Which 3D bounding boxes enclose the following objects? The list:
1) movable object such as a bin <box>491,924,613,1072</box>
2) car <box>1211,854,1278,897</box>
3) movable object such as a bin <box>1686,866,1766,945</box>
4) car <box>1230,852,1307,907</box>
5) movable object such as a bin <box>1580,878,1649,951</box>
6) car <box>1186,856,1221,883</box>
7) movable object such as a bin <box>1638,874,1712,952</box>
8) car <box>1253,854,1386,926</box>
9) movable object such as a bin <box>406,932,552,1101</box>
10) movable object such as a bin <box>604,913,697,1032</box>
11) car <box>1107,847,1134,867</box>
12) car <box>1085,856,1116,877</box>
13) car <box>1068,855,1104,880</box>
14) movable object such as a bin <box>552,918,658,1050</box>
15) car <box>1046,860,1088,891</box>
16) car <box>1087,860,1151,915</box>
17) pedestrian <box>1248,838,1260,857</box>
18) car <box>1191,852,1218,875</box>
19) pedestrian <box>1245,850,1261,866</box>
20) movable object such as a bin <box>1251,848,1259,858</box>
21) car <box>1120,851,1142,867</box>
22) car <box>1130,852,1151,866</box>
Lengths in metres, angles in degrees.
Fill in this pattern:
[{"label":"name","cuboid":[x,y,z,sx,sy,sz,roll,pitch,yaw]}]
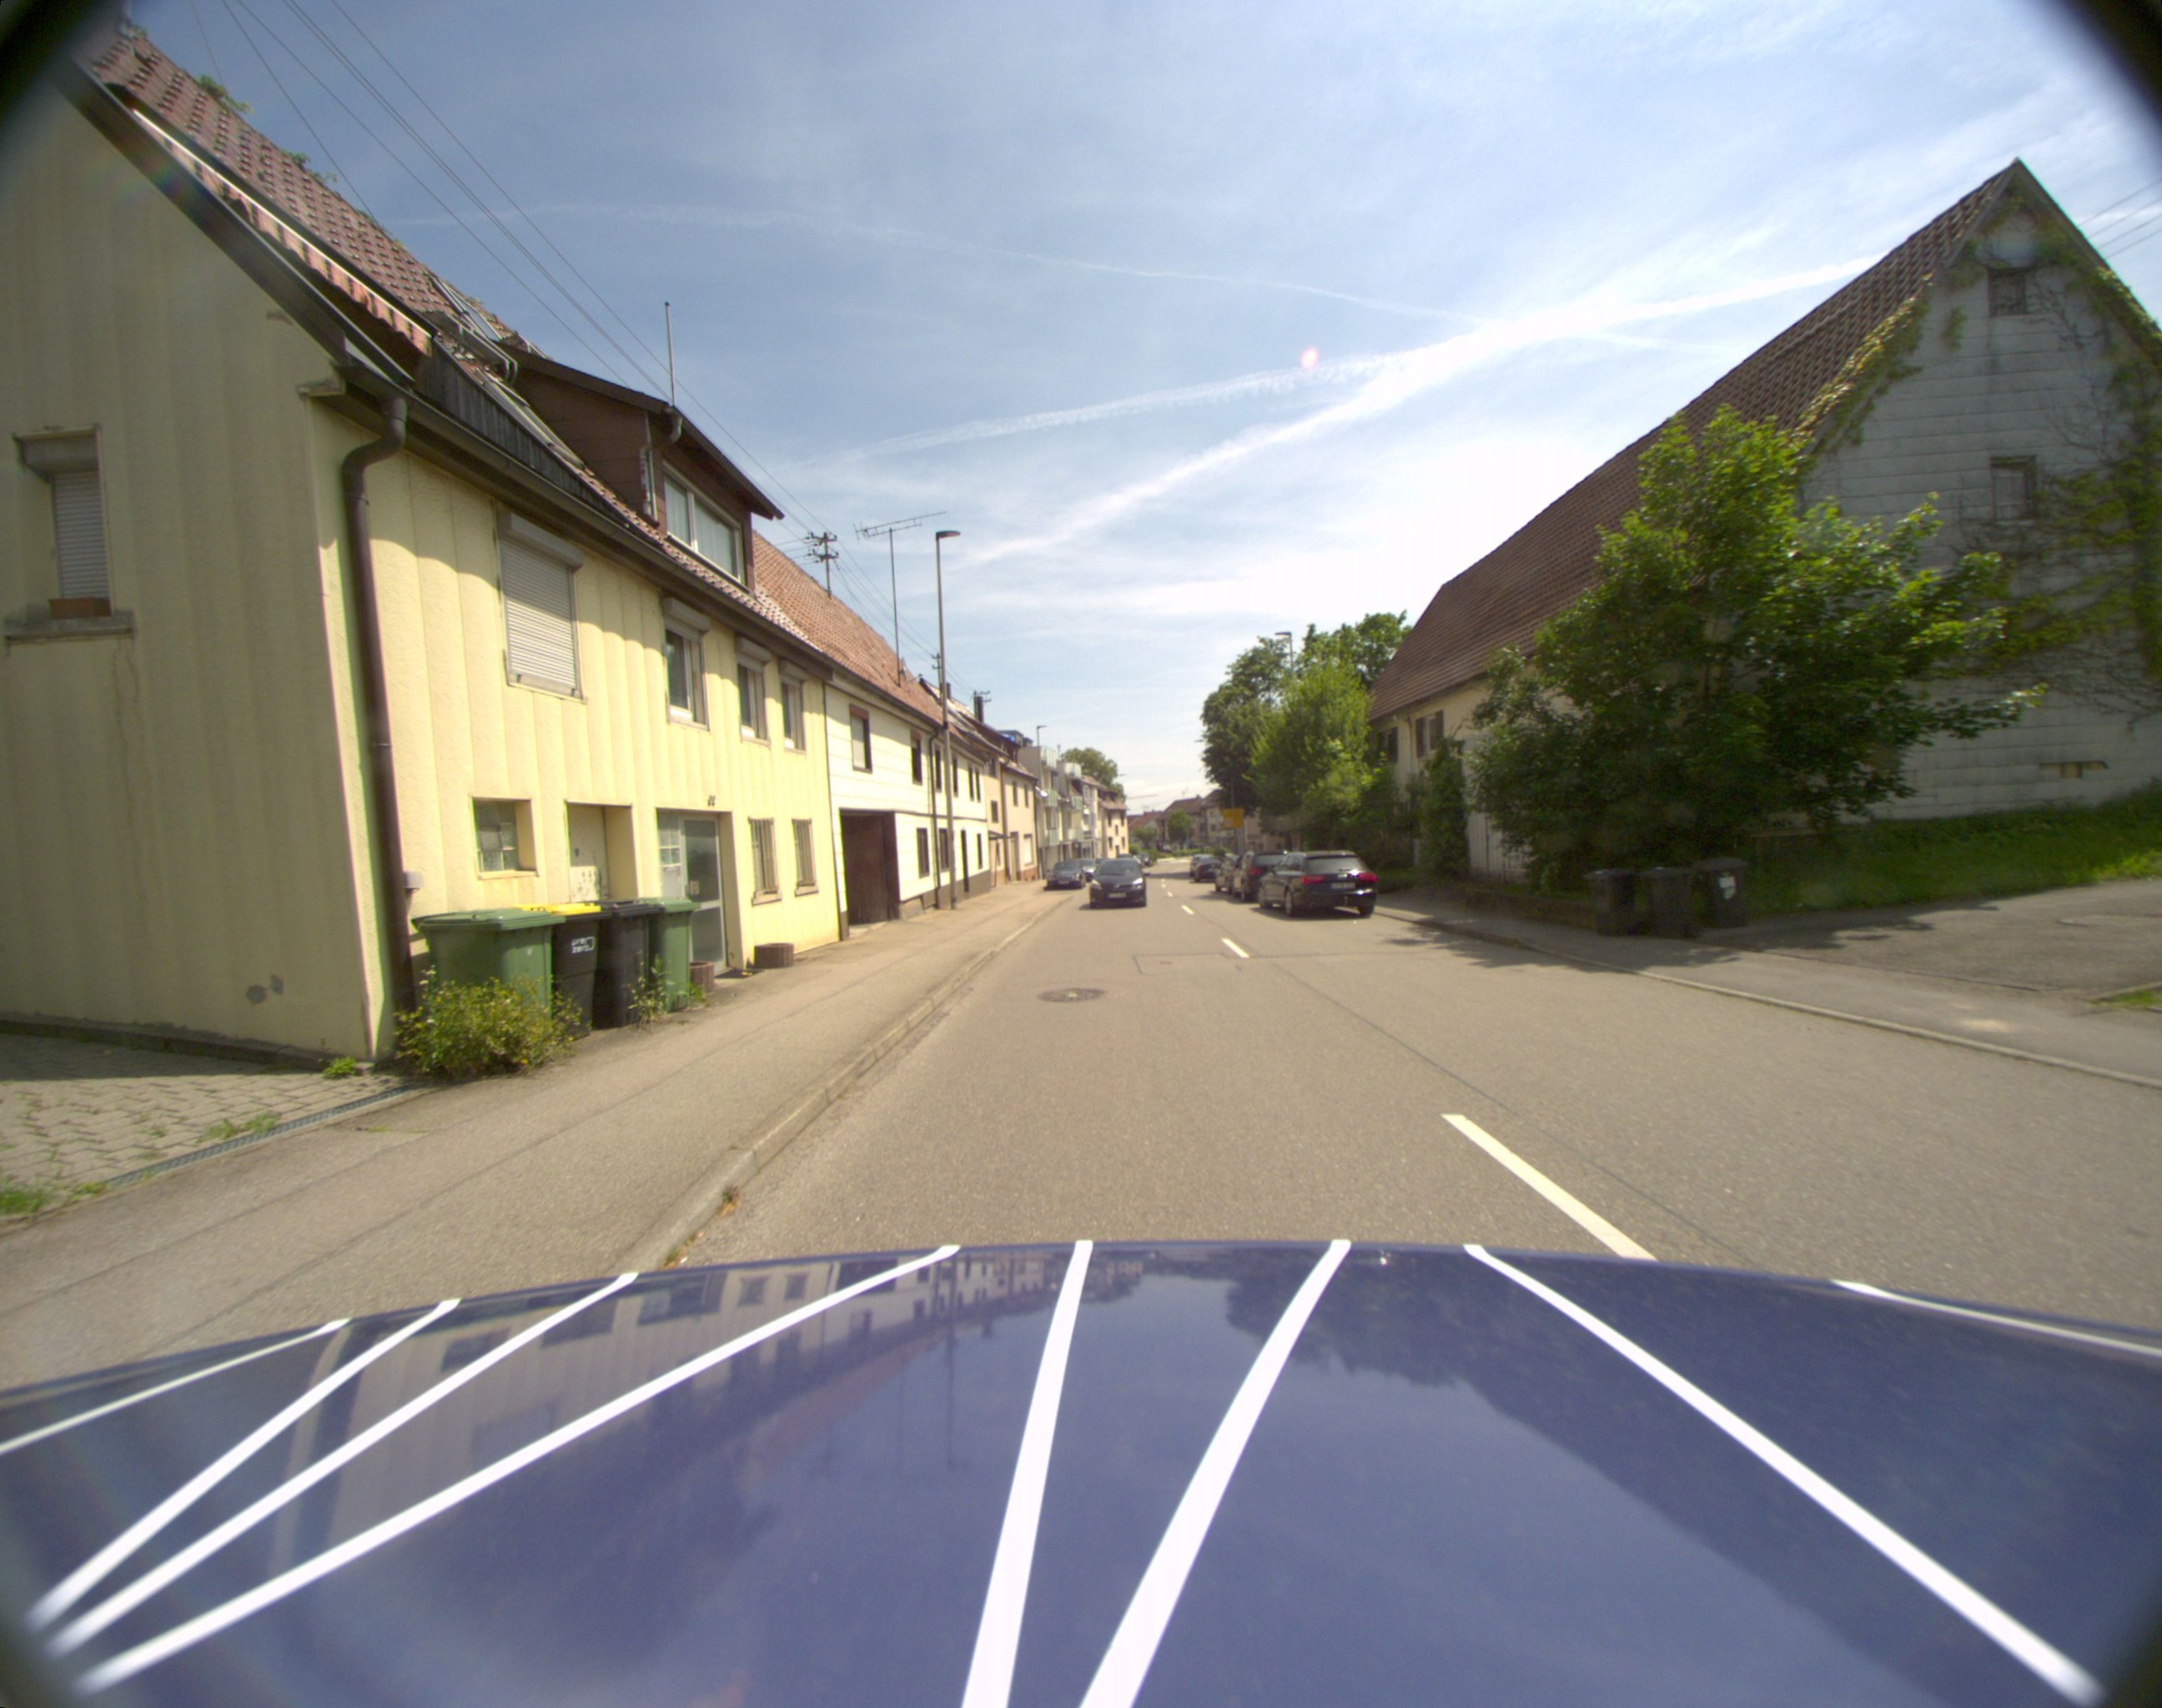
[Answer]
[{"label":"movable object such as a bin","cuboid":[-4.057,1.082,5.856,0.548,1.027,0.551,0,0,2]},{"label":"car","cuboid":[6.216,0.775,29.354,1.792,1.455,4.713,-2,0,3]},{"label":"movable object such as a bin","cuboid":[8.591,0.676,10.136,0.502,0.943,0.524,-9,1,-3]},{"label":"car","cuboid":[5.813,0.748,24.054,1.759,1.512,4.302,-2,0,6]},{"label":"movable object such as a bin","cuboid":[7.473,0.834,10.662,0.502,0.897,0.585,-6,4,-3]},{"label":"car","cuboid":[6.923,0.855,43.342,1.808,1.415,4.931,-1,0,8]},{"label":"movable object such as a bin","cuboid":[7.825,0.771,10.026,0.474,0.933,0.527,-7,1,-2]},{"label":"car","cuboid":[5.528,0.758,18.299,1.823,1.465,4.776,-2,0,2]},{"label":"movable object such as a bin","cuboid":[-4.062,1.071,5.158,0.548,1.027,0.551,0,0,2]},{"label":"movable object such as a bin","cuboid":[-3.997,1.083,7.084,0.548,1.027,0.551,0,0,2]},{"label":"car","cuboid":[3.639,0.278,70.009,1.957,1.706,4.719,-2,0,9]},{"label":"car","cuboid":[1.543,0.917,58.461,1.800,1.416,4.292,-1,1,10]},{"label":"car","cuboid":[0.352,0.800,47.133,1.797,1.394,4.413,-1,0,6]},{"label":"movable object such as a bin","cuboid":[-4.037,1.082,6.469,0.548,1.027,0.551,0,0,2]},{"label":"car","cuboid":[-0.621,1.005,37.197,1.669,1.345,4.187,-3,0,3]},{"label":"car","cuboid":[1.222,0.944,23.470,1.725,1.448,4.431,-2,0,4]},{"label":"pedestrian","cuboid":[14.808,-0.569,65.135,0.732,1.607,0.629,-4,1,-9]},{"label":"car","cuboid":[8.901,0.676,54.592,1.775,1.518,4.225,0,1,12]},{"label":"pedestrian","cuboid":[14.451,0.303,63.743,1.238,1.262,0.647,-4,1,15]},{"label":"movable object such as a bin","cuboid":[19.898,-0.132,86.746,0.801,0.994,0.805,-4,1,13]},{"label":"car","cuboid":[5.235,0.498,79.506,1.792,1.447,4.719,-2,0,9]},{"label":"car","cuboid":[6.824,0.570,86.518,1.792,1.412,4.361,-2,0,12]}]
